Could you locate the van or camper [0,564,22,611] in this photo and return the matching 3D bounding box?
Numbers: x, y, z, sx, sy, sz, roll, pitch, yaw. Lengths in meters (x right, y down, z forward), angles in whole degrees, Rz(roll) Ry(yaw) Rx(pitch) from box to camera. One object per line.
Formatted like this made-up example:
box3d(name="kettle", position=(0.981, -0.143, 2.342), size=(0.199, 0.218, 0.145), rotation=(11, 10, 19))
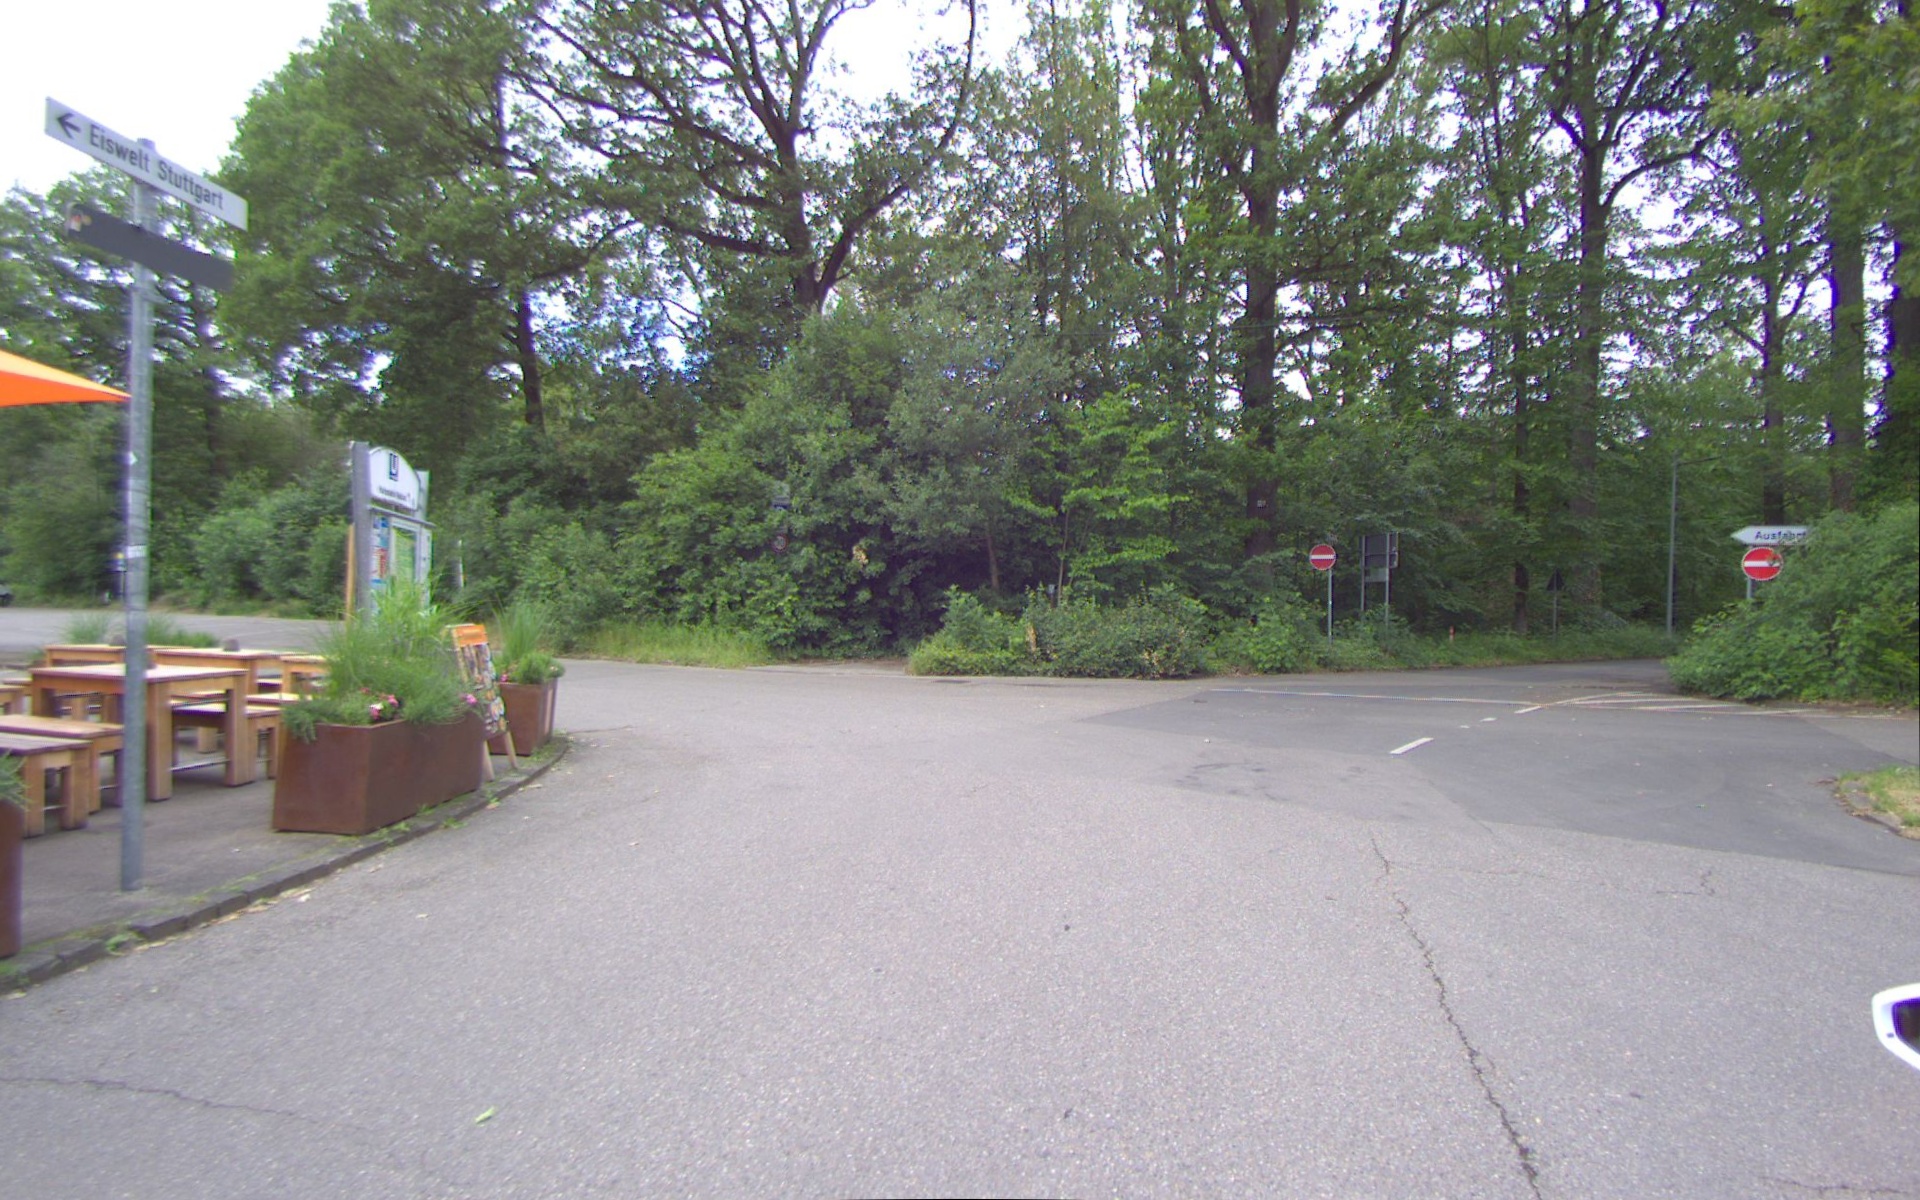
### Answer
box3d(name="van or camper", position=(-59.208, -0.774, 59.190), size=(2.031, 2.887, 7.327), rotation=(1, 0, -9))
